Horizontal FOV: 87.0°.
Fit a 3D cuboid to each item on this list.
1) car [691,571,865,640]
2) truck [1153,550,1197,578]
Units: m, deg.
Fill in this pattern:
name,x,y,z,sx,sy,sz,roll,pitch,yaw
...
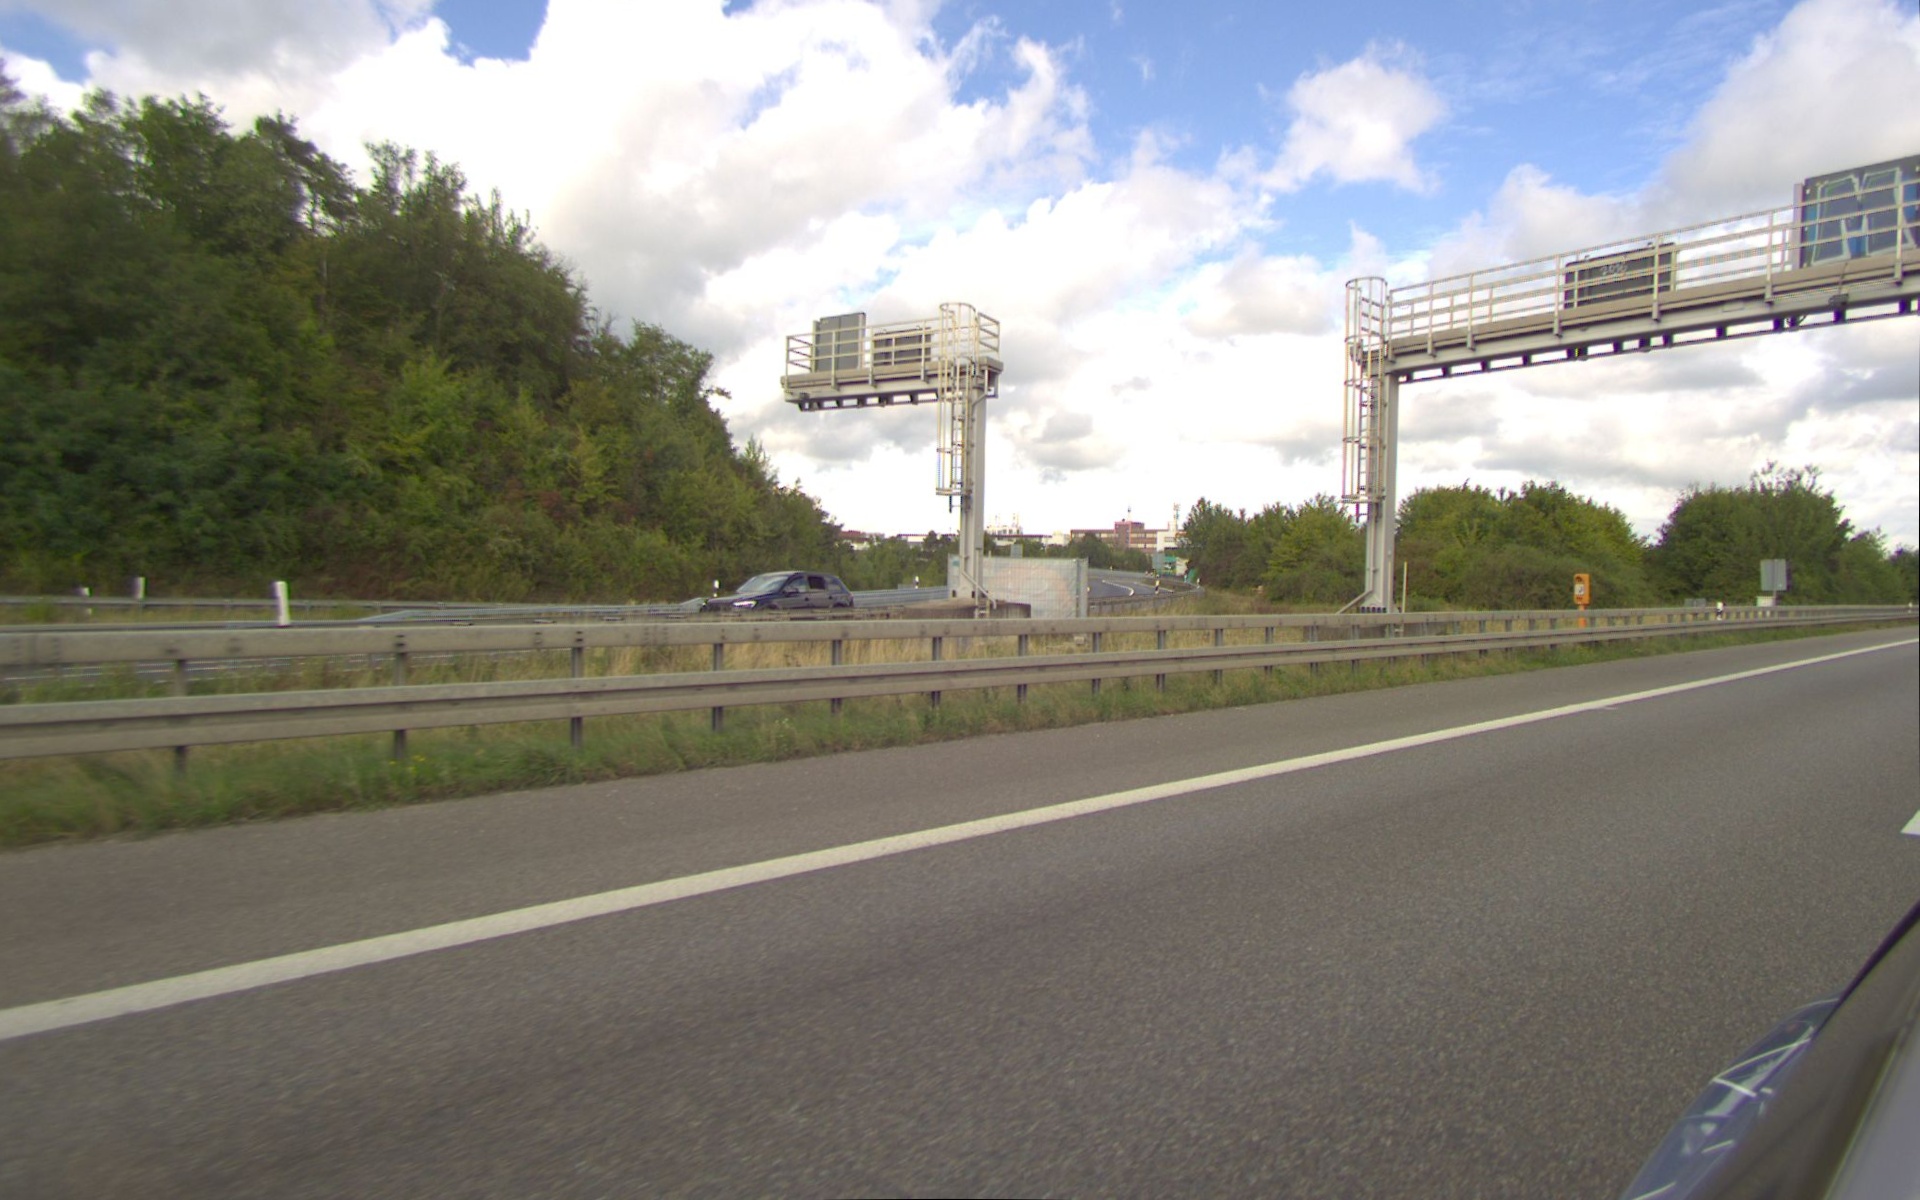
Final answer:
name,x,y,z,sx,sy,sz,roll,pitch,yaw
car,-4.714,0.086,26.999,1.863,1.656,4.804,1,1,32
truck,32.851,-5.409,154.159,2.943,3.845,13.328,1,1,28
